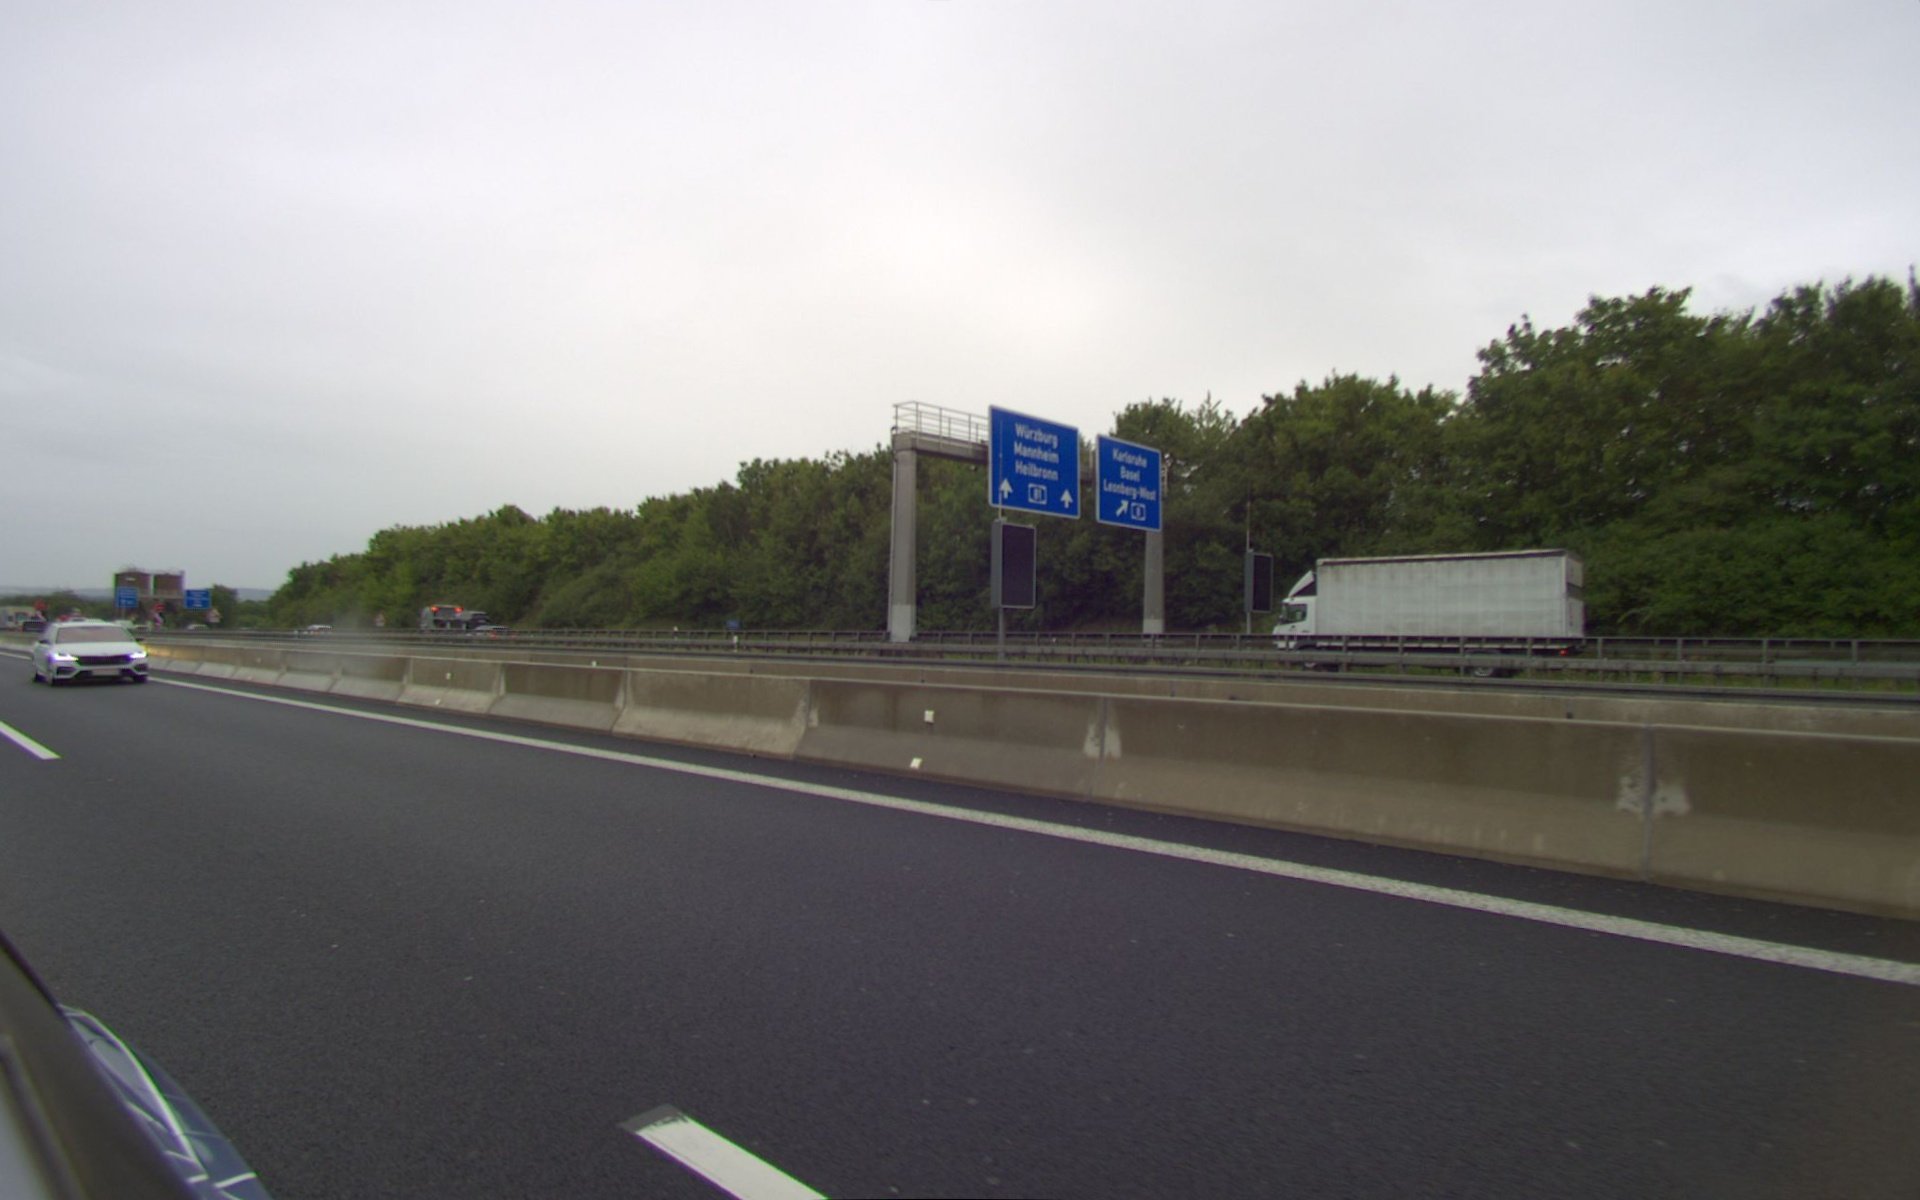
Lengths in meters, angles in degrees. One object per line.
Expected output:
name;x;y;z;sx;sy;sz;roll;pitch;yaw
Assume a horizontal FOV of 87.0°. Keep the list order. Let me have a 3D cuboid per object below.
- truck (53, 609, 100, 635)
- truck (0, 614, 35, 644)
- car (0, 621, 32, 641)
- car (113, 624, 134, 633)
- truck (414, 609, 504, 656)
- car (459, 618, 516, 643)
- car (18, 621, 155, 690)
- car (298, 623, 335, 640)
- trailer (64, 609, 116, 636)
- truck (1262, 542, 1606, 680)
truck;-85.029;2.091;97.383;7.339;2.358;2.549;-1;0;42
truck;-127.904;3.838;136.567;16.085;3.907;2.895;-1;0;42
car;-86.733;2.819;92.838;4.774;1.694;1.851;-1;0;40
car;-135.027;4.614;163.296;4.774;1.467;1.800;-1;0;40
truck;-37.262;2.359;75.025;9.076;3.245;2.821;-1;0;42
car;-28.863;1.857;61.779;3.998;1.467;1.658;-1;0;42
car;-21.123;1.267;24.410;4.774;1.467;1.800;-1;0;40
car;-61.986;3.010;97.425;4.774;1.593;1.641;-1;0;40
trailer;-79.420;2.004;92.319;7.944;2.358;2.549;-1;0;42
truck;15.050;0.364;32.895;9.632;3.908;3.042;-1;-1;42
